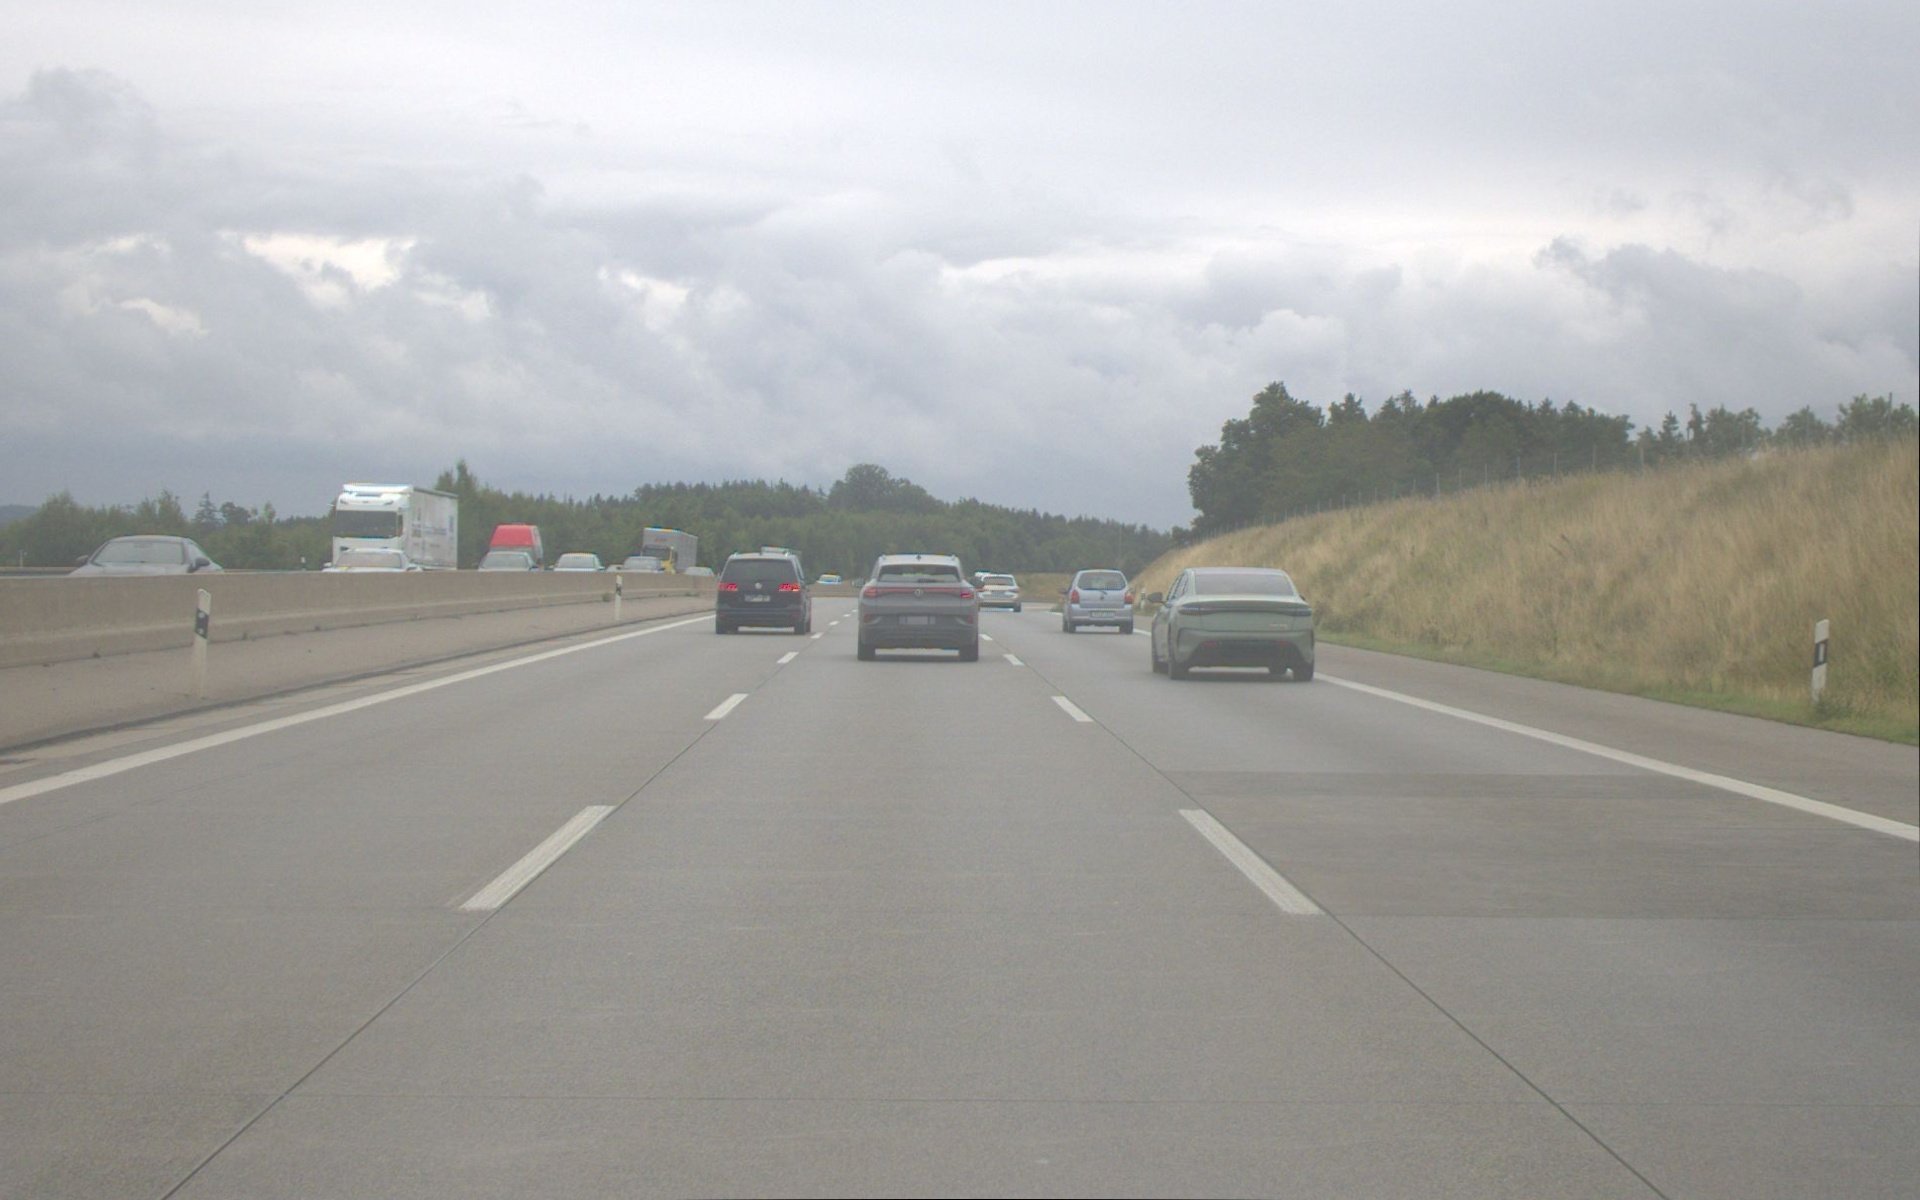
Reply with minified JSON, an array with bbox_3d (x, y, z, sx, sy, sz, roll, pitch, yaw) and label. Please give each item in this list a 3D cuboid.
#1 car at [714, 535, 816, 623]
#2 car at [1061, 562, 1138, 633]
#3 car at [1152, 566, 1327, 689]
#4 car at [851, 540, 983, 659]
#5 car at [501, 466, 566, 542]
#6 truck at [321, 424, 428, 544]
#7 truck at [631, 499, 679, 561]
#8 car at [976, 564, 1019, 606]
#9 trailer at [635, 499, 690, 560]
[{"bbox_3d":[-4.058,-0.462,72.062,1.785,1.741,3.915,1,1,1],"label":"car"},{"bbox_3d":[3.160,-0.074,78.281,1.485,1.465,3.505,3,1,-1],"label":"car"},{"bbox_3d":[3.621,0.320,45.304,2.014,1.441,4.745,1,1,1],"label":"car"},{"bbox_3d":[-0.712,-0.051,53.315,1.898,1.684,5.267,1,1,-2],"label":"car"},{"bbox_3d":[-17.033,-3.807,137.423,1.801,2.948,5.579,1,1,1],"label":"car"},{"bbox_3d":[-21.788,-4.290,128.202,2.883,4.276,7.137,1,1,-1],"label":"truck"},{"bbox_3d":[-21.111,-4.869,238.243,2.931,4.166,5.858,1,1,-1],"label":"truck"},{"bbox_3d":[1.442,-0.592,132.513,1.485,1.465,3.505,3,1,-1],"label":"car"},{"bbox_3d":[-21.203,-5.060,245.424,2.918,4.203,11.873,1,1,0],"label":"trailer"}]
